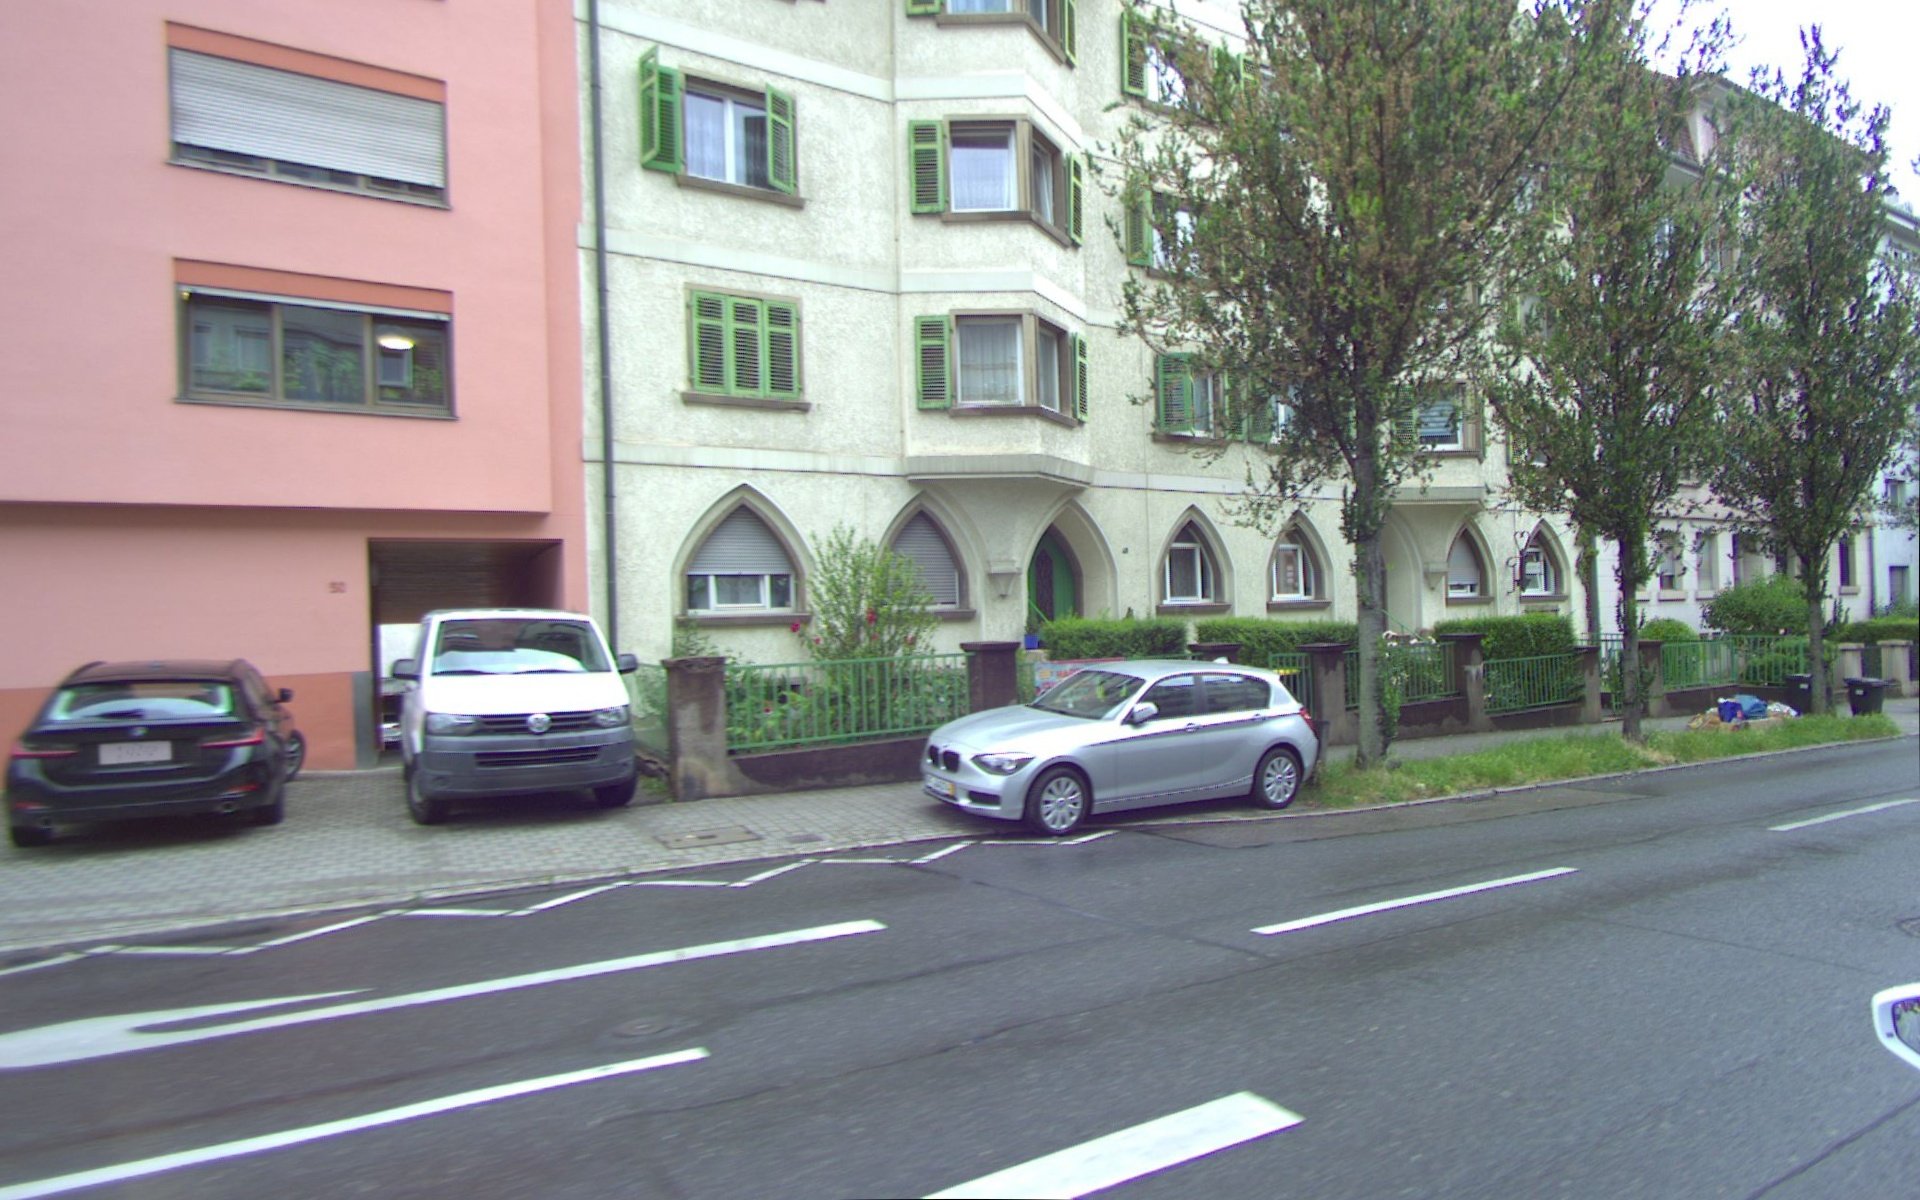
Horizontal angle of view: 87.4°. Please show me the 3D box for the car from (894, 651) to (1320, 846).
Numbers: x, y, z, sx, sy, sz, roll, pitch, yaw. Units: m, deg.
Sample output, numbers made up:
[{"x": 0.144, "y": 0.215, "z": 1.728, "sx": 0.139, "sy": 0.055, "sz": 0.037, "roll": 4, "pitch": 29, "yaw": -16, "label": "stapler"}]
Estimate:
[{"x": 1.496, "y": 1.298, "z": 9.924, "sx": 3.941, "sy": 1.503, "sz": 1.719, "roll": 1, "pitch": 0, "yaw": -29, "label": "car"}]

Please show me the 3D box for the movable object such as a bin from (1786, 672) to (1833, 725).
[{"x": 15.382, "y": 1.767, "z": 18.189, "sx": 0.636, "sy": 0.924, "sz": 0.569, "roll": 2, "pitch": -4, "yaw": -44, "label": "movable object such as a bin"}]

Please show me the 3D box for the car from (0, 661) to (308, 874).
[{"x": -7.315, "y": 1.338, "z": 9.525, "sx": 1.772, "sy": 1.470, "sz": 4.409, "roll": 1, "pitch": -3, "yaw": -32, "label": "car"}]

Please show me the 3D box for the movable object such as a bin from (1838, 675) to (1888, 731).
[{"x": 15.809, "y": 1.790, "z": 17.586, "sx": 0.636, "sy": 0.924, "sz": 0.569, "roll": 2, "pitch": -4, "yaw": -44, "label": "movable object such as a bin"}]

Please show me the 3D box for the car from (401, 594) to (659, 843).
[{"x": -4.777, "y": 1.082, "z": 10.692, "sx": 2.023, "sy": 1.999, "sz": 4.808, "roll": 1, "pitch": -3, "yaw": -29, "label": "car"}]
